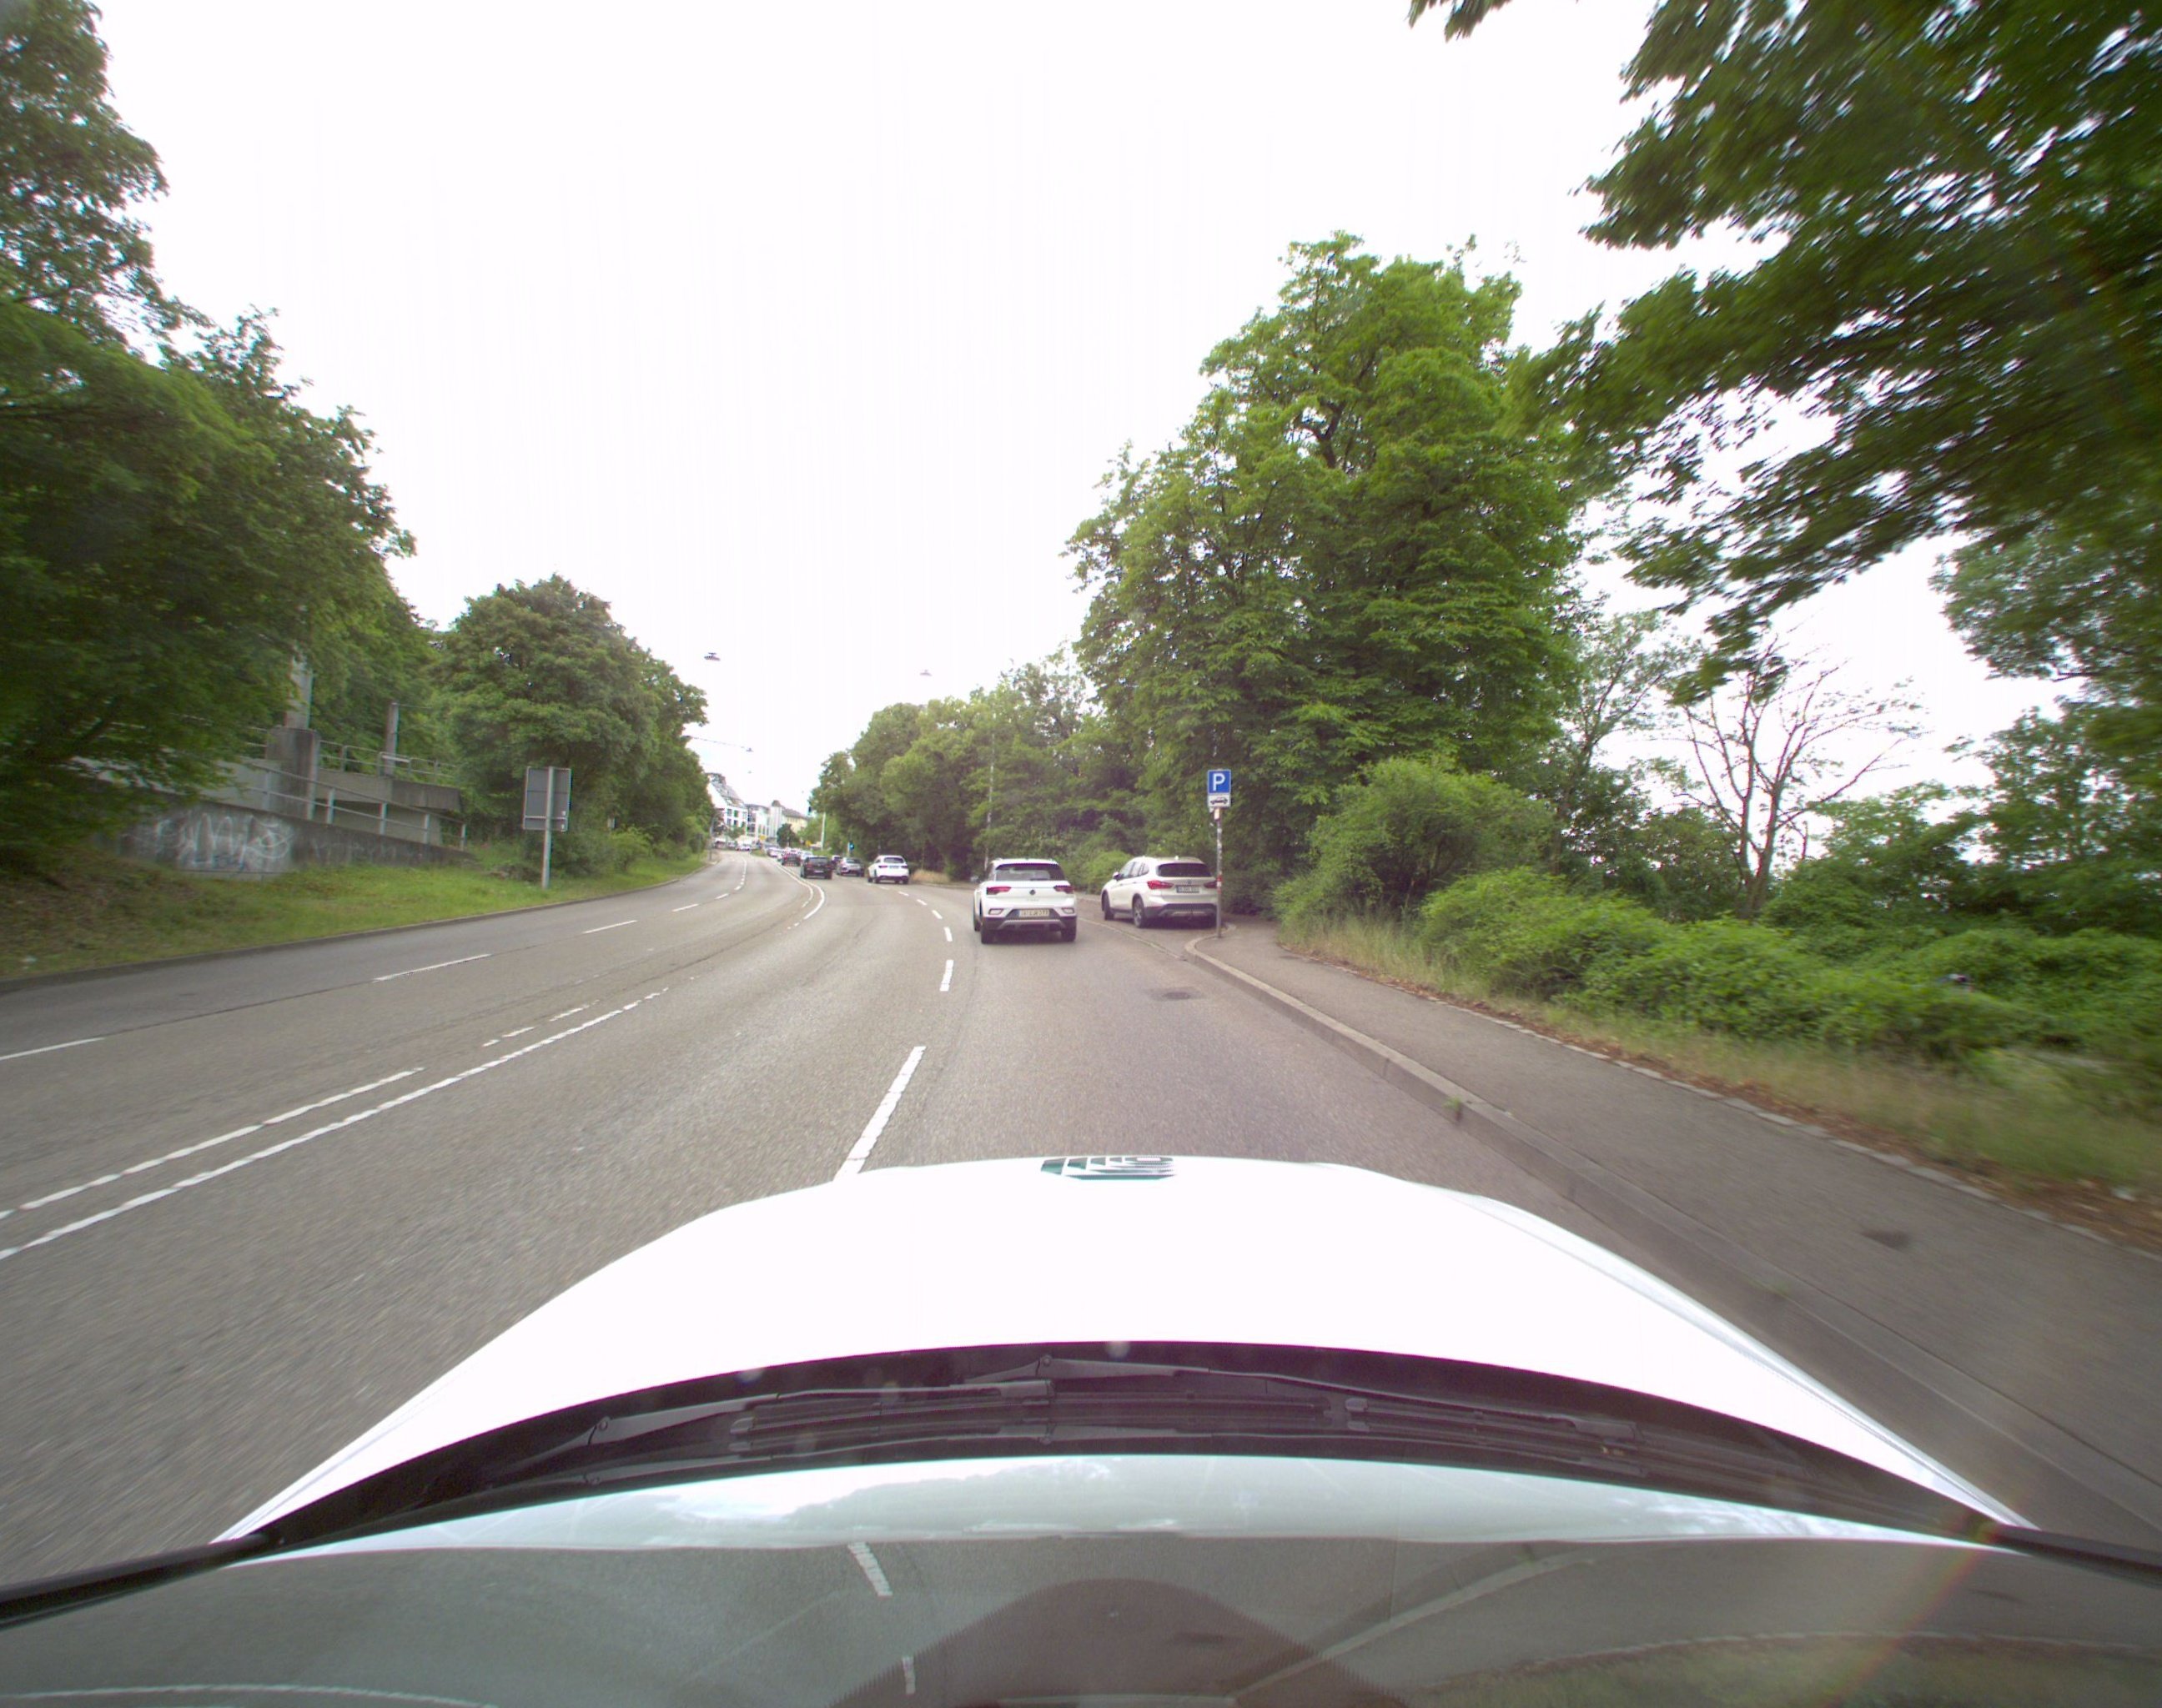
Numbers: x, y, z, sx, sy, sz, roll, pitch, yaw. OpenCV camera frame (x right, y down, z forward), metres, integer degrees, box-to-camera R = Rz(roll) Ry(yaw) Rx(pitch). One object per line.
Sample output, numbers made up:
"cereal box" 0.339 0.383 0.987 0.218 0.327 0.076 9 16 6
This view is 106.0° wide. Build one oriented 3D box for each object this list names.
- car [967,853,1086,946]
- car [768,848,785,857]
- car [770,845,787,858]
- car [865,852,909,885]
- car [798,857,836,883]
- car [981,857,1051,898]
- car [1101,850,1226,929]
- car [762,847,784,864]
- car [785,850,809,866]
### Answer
"car" -1.228 0.791 16.315 2.001 1.596 3.987 -1 0 -10
"car" -52.482 -0.296 140.389 1.994 1.527 3.986 3 0 -10
"car" -39.168 -0.291 105.571 1.715 1.589 3.977 3 0 -17
"car" -11.296 0.794 47.337 1.859 1.702 3.971 -1 3 -23
"car" -17.077 0.990 52.577 1.957 1.466 3.971 3 0 -22
"car" -2.859 0.957 34.846 1.739 1.482 4.669 3 0 -21
"car" 1.820 0.756 19.416 1.759 1.652 4.364 0 0 -11
"car" -31.987 0.141 84.625 1.770 1.606 3.978 3 0 -17
"car" -29.711 0.420 85.406 1.997 1.487 3.980 3 0 -15
